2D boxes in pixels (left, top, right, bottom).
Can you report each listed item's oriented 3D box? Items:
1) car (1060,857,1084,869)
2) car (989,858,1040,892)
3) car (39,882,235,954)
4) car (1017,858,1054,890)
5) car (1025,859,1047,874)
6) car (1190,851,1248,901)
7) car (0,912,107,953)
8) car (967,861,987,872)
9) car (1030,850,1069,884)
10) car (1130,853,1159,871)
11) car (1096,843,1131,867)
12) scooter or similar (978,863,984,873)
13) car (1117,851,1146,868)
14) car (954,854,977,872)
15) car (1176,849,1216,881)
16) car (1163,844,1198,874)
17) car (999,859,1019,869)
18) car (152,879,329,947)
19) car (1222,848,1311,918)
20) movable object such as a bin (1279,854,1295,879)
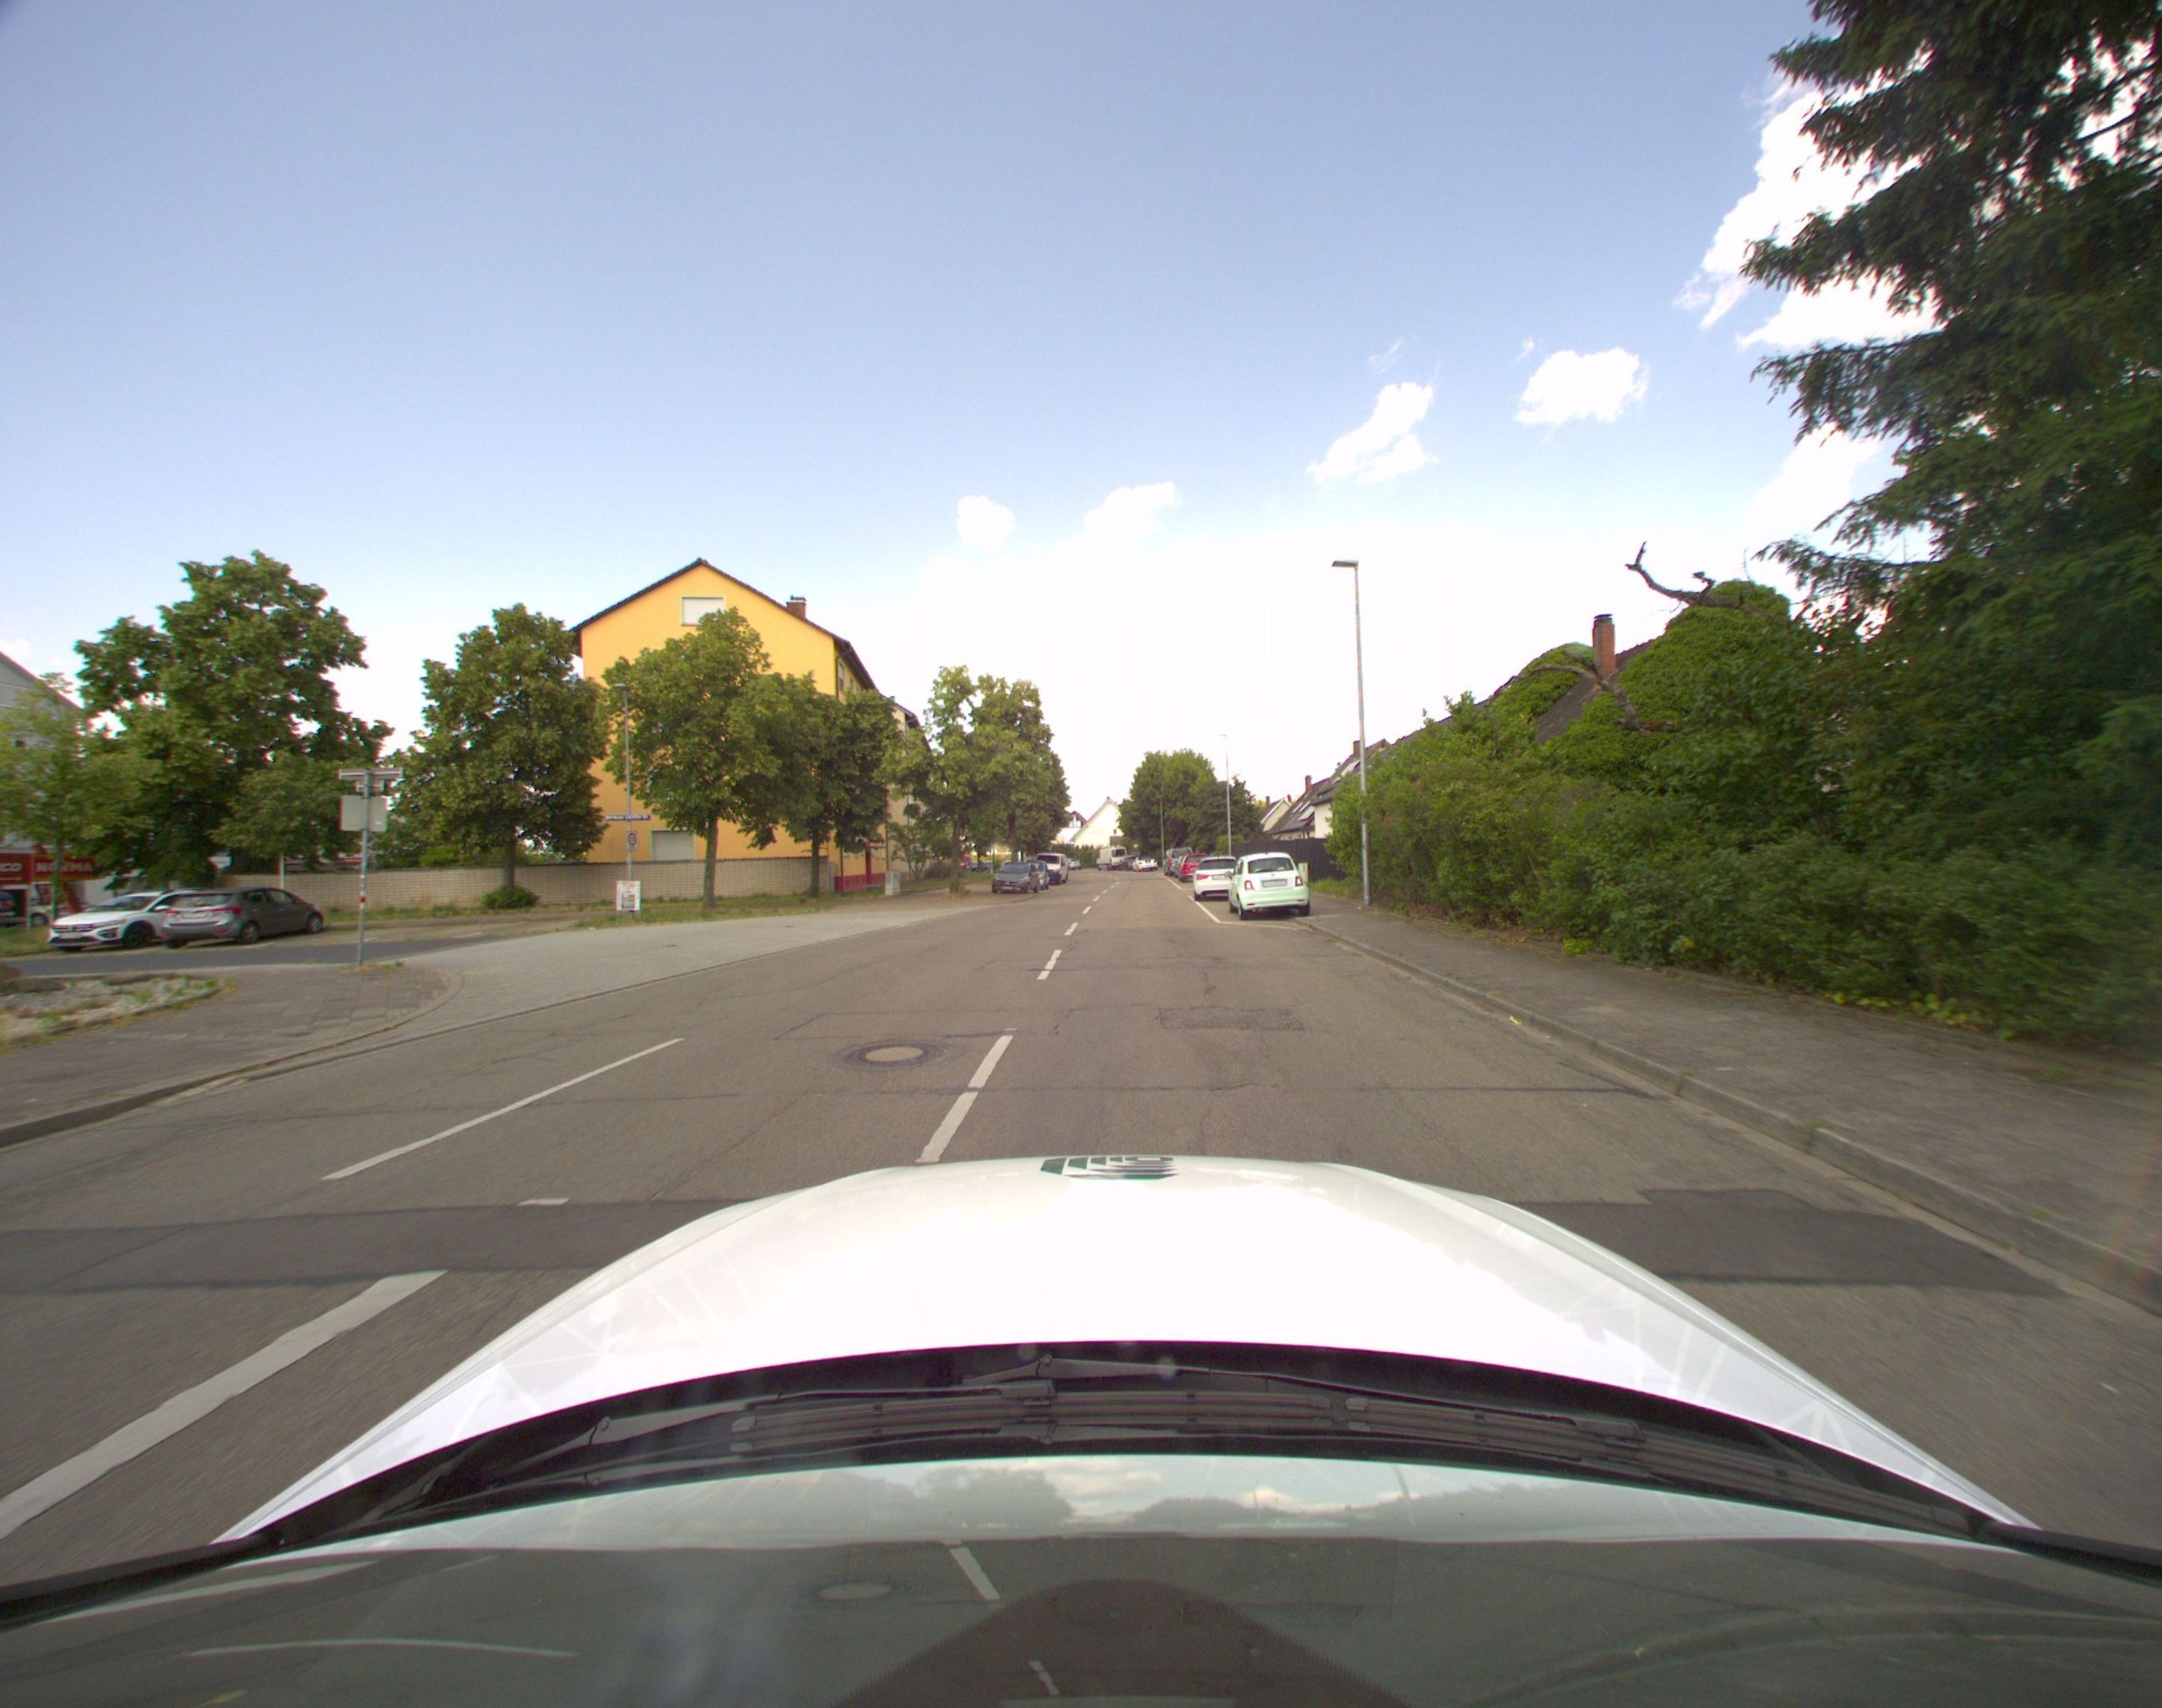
[{"bbox_3d":[-1.154,1.130,102.017,1.742,1.457,4.337,-3,0,-19],"label":"car"},{"bbox_3d":[-3.042,0.980,38.081,1.675,1.486,3.990,0,-1,6],"label":"car"},{"bbox_3d":[-27.247,1.764,23.718,1.648,1.591,3.884,-3,2,-13],"label":"car"},{"bbox_3d":[-2.435,1.051,44.360,1.511,1.549,3.759,2,1,3],"label":"car"},{"bbox_3d":[-4.430,1.239,79.635,1.836,1.439,4.080,0,-1,-8],"label":"car"},{"bbox_3d":[4.602,0.694,27.547,1.712,1.486,3.757,-3,0,7],"label":"car"},{"bbox_3d":[-51.115,3.865,39.969,3.896,1.591,1.643,-4,2,-16],"label":"car"},{"bbox_3d":[-14.192,1.693,110.751,1.793,1.458,4.405,2,-2,-20],"label":"car"},{"bbox_3d":[-1.954,0.788,52.557,1.871,2.009,5.329,-1,0,4],"label":"car"},{"bbox_3d":[5.810,0.717,74.477,1.738,1.512,4.447,-3,0,-7],"label":"car"},{"bbox_3d":[3.460,0.145,87.603,2.120,2.441,5.867,-3,0,-13],"label":"car"},{"bbox_3d":[-11.259,1.547,91.651,0.420,1.165,1.134,-1,0,-17],"label":"scooter or similar"},{"bbox_3d":[4.994,0.556,81.363,1.719,1.585,4.105,-3,0,-13],"label":"car"},{"bbox_3d":[-16.613,1.271,116.909,2.071,2.501,5.800,2,-1,-20],"label":"car"},{"bbox_3d":[6.310,0.568,45.120,1.841,1.579,4.738,-3,0,4],"label":"car"},{"bbox_3d":[7.023,0.339,58.172,1.836,1.944,4.877,-5,0,1],"label":"car"},{"bbox_3d":[-11.350,1.537,128.192,1.803,1.523,3.942,-3,0,-23],"label":"car"},{"bbox_3d":[-24.405,1.645,23.857,1.648,1.537,3.884,-3,2,-13],"label":"car"},{"bbox_3d":[4.508,0.645,20.290,1.574,1.520,3.760,-3,0,5],"label":"car"},{"bbox_3d":[8.665,0.514,34.312,0.514,1.039,0.631,-3,0,4],"label":"movable object such as a bin"}]
